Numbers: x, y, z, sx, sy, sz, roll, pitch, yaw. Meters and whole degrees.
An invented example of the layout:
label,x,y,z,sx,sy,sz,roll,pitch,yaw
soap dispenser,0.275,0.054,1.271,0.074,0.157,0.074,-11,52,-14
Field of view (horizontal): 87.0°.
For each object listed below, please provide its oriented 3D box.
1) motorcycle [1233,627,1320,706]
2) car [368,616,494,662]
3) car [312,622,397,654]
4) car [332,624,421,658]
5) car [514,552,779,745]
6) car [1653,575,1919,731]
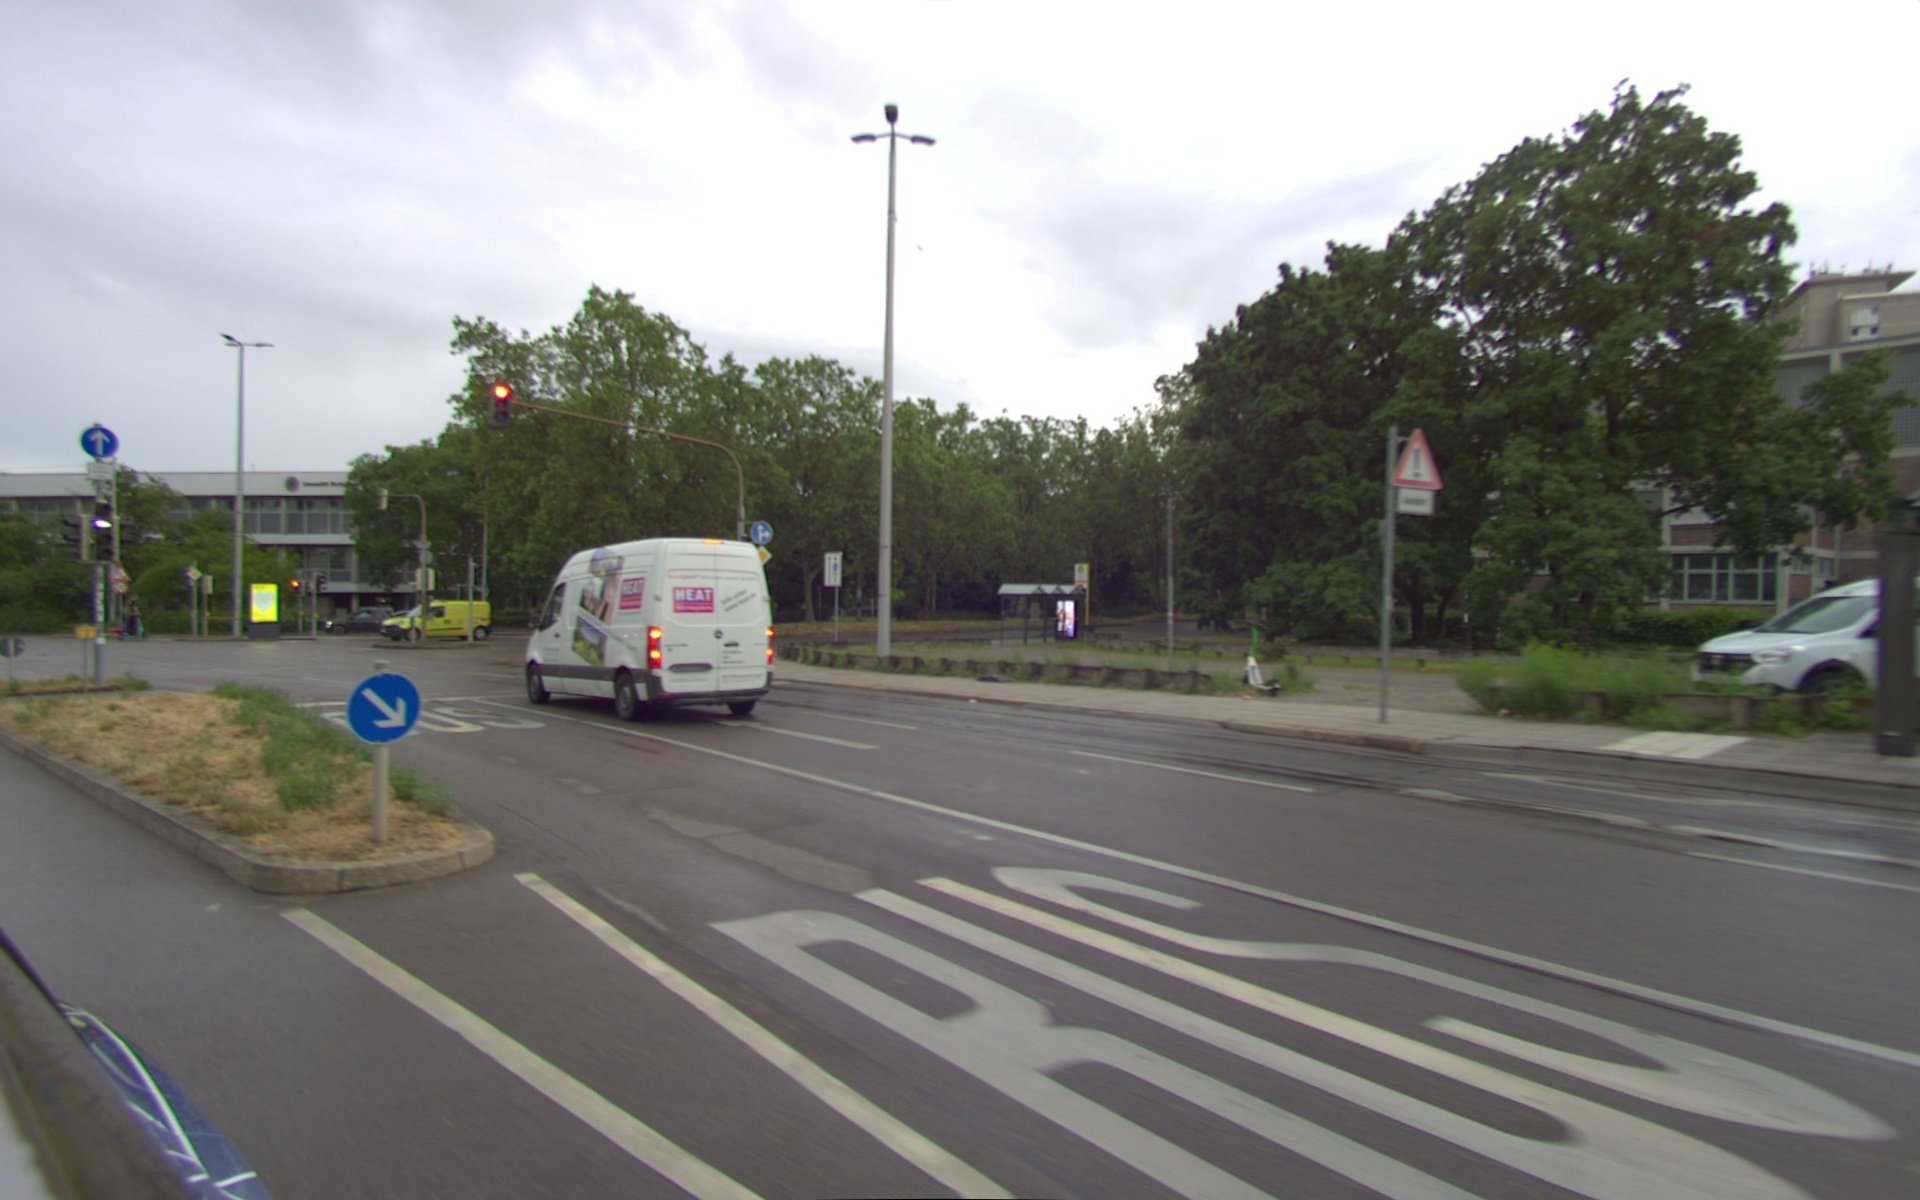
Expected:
label,x,y,z,sx,sy,sz,roll,pitch,yaw
motorcycle,5.278,1.084,16.888,1.265,1.256,0.510,-1,0,37
car,-24.565,1.800,47.123,2.120,2.023,4.762,-2,-2,38
car,-33.212,2.086,55.614,3.774,1.686,1.935,0,-2,-23
car,-33.950,2.360,59.037,4.271,1.925,2.084,0,-2,-23
car,-5.205,0.733,16.180,1.958,2.548,5.640,1,-3,-41
car,11.785,0.578,12.689,4.661,1.768,2.014,-2,0,3
